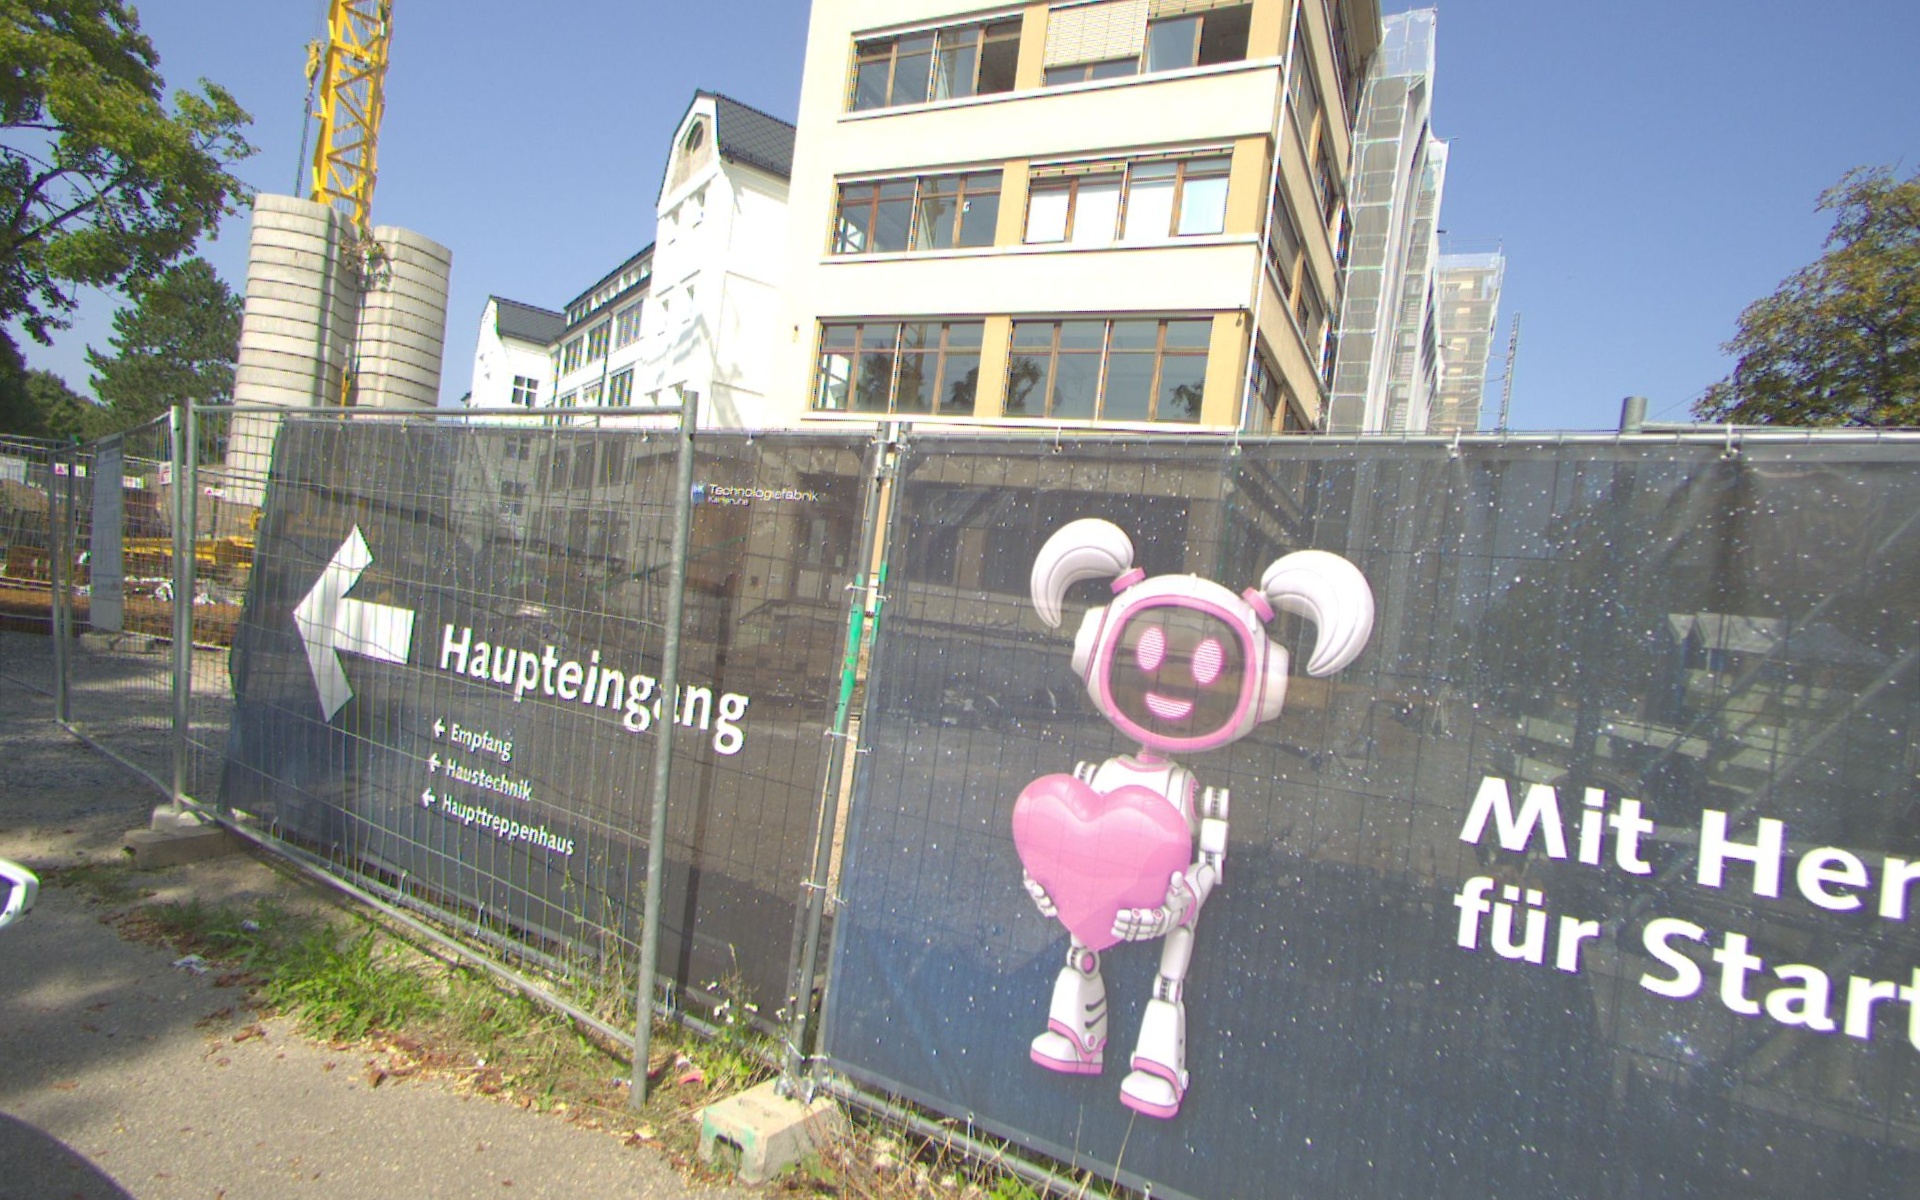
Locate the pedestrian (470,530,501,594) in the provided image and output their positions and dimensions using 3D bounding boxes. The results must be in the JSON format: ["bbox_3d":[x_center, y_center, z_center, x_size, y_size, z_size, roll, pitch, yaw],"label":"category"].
[{"bbox_3d":[-12.035,-0.976,25.516,0.518,1.546,0.492,7,0,-28],"label":"pedestrian"}]
